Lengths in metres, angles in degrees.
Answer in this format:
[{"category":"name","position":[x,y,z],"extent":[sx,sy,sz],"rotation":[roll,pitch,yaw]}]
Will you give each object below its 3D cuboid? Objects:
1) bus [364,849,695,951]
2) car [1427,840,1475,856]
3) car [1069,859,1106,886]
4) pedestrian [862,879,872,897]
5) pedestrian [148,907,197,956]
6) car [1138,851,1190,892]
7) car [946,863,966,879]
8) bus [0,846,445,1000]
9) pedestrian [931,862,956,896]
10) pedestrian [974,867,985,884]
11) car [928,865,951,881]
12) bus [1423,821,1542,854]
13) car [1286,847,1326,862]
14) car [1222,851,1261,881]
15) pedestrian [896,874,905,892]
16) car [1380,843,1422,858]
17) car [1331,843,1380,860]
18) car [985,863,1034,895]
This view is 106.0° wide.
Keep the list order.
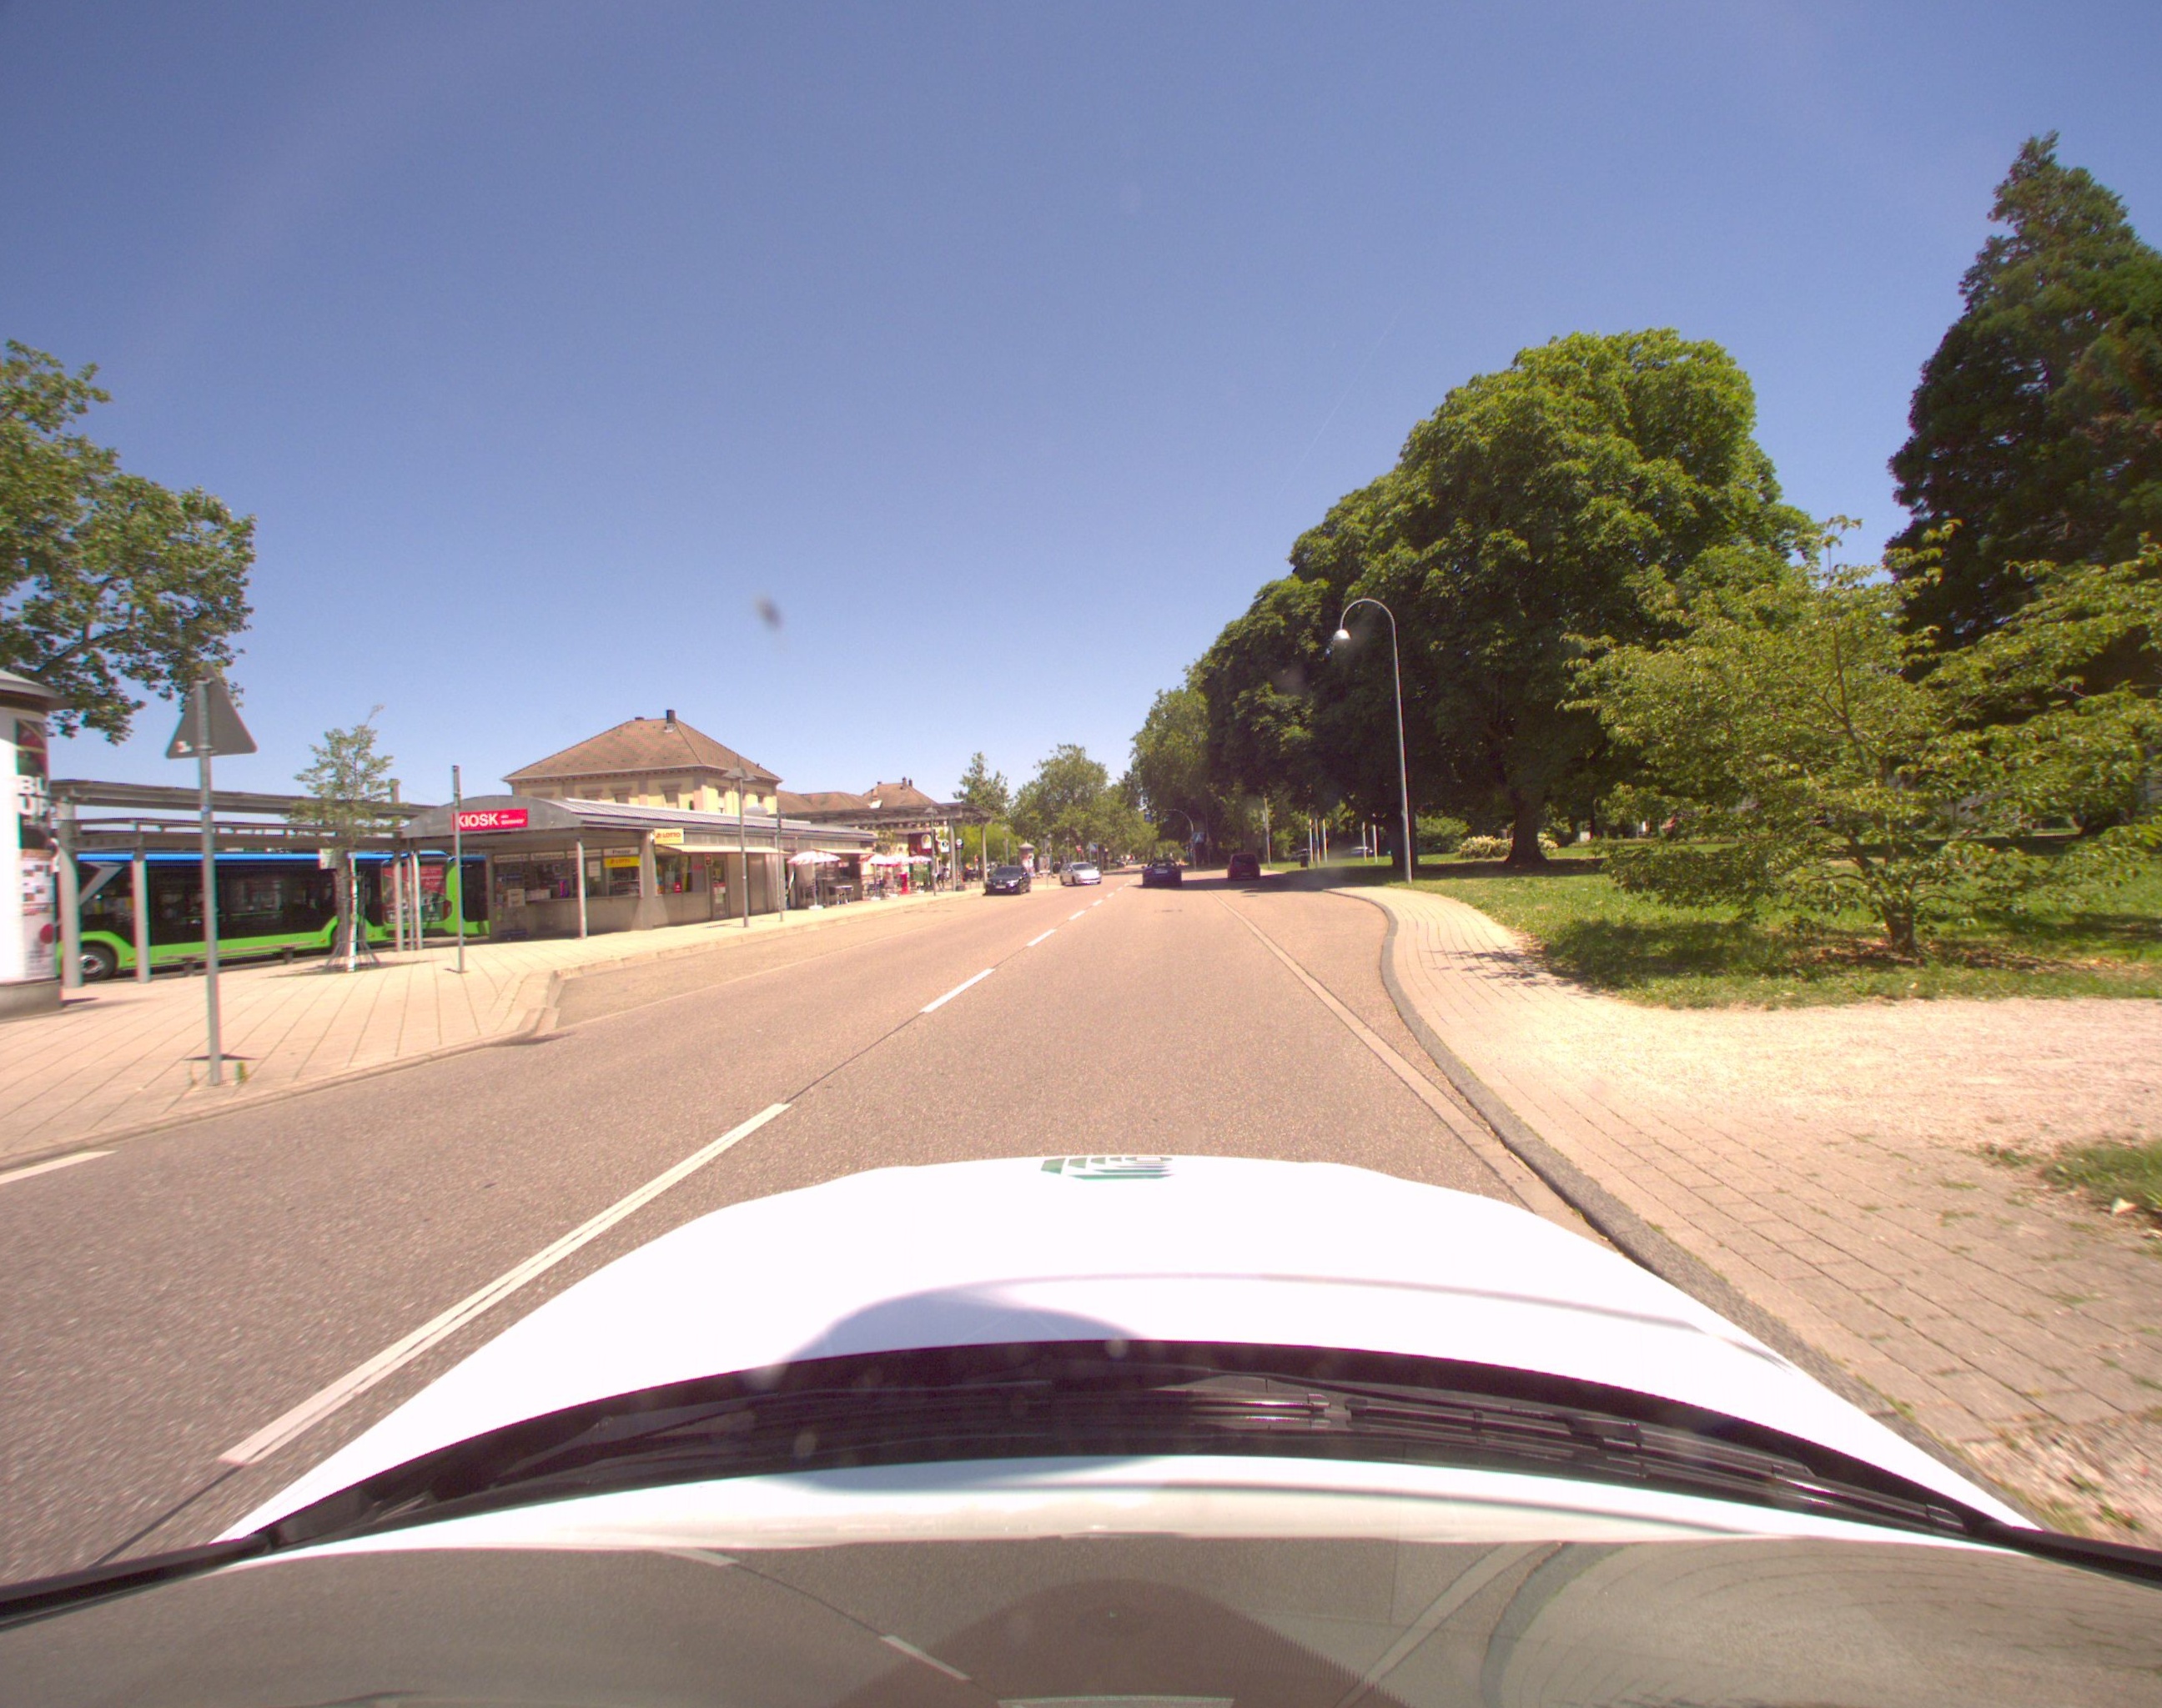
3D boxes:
[{"category":"bus","position":[-20.469,1.521,32.281],"extent":[2.662,3.041,13.908],"rotation":[-3,-1,4]},{"category":"car","position":[40.441,-0.644,89.059],"extent":[4.315,1.416,2.003],"rotation":[-3,-2,6]},{"category":"car","position":[0.473,1.150,51.842],"extent":[1.806,1.444,4.166],"rotation":[-5,0,6]},{"category":"pedestrian","position":[-12.120,1.926,46.128],"extent":[0.421,0.972,0.373],"rotation":[-4,-3,19]},{"category":"pedestrian","position":[-32.165,2.732,28.847],"extent":[0.820,1.617,0.765],"rotation":[-3,-2,-13]},{"category":"car","position":[4.148,0.833,40.172],"extent":[2.111,1.848,4.060],"rotation":[-3,-1,11]},{"category":"car","position":[-18.164,2.436,118.494],"extent":[1.985,2.013,4.005],"rotation":[-3,1,4]},{"category":"bus","position":[-25.115,1.644,23.646],"extent":[2.149,3.526,12.252],"rotation":[-3,-1,9]},{"category":"pedestrian","position":[-7.651,1.398,45.313],"extent":[0.792,1.828,1.148],"rotation":[-4,-3,22]},{"category":"pedestrian","position":[-10.235,2.128,82.095],"extent":[0.754,1.659,0.724],"rotation":[-4,-3,23]},{"category":"car","position":[-19.277,2.543,111.321],"extent":[1.742,1.917,4.783],"rotation":[-3,0,6]},{"category":"bus","position":[46.432,-1.890,94.373],"extent":[12.322,2.978,2.271],"rotation":[-3,-2,4]},{"category":"car","position":[25.099,0.041,90.950],"extent":[4.080,1.466,2.005],"rotation":[-3,-1,9]},{"category":"car","position":[8.618,0.642,43.939],"extent":[1.709,1.478,3.714],"rotation":[-4,-1,7]},{"category":"pedestrian","position":[-17.769,2.861,80.207],"extent":[0.660,1.673,0.624],"rotation":[-1,-3,-40]},{"category":"car","position":[35.192,-0.390,89.599],"extent":[3.860,1.454,2.004],"rotation":[-3,-2,7]},{"category":"car","position":[30.317,-0.240,90.011],"extent":[4.794,1.607,2.005],"rotation":[-3,-1,9]},{"category":"car","position":[-3.672,1.251,42.684],"extent":[1.711,1.478,4.792],"rotation":[-4,-1,5]}]
